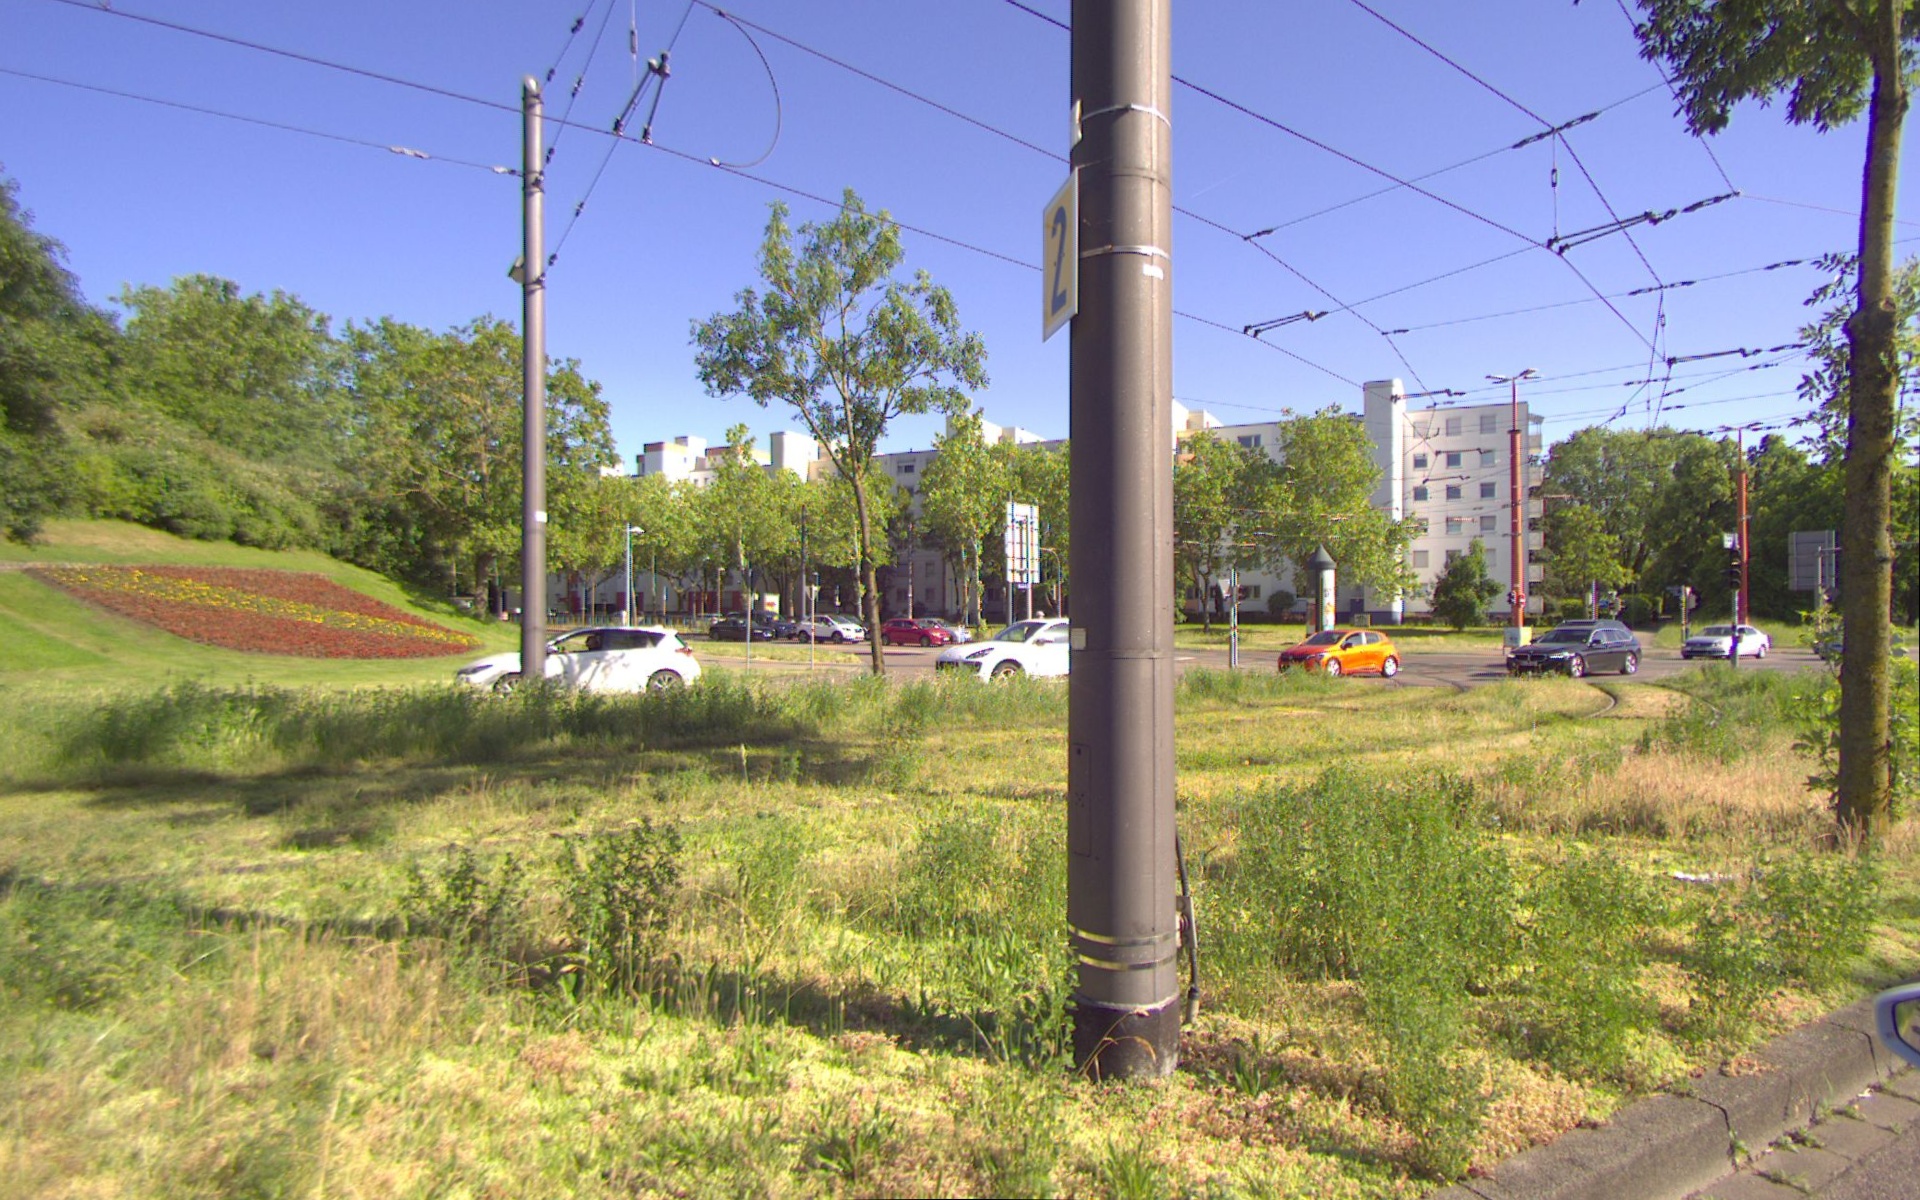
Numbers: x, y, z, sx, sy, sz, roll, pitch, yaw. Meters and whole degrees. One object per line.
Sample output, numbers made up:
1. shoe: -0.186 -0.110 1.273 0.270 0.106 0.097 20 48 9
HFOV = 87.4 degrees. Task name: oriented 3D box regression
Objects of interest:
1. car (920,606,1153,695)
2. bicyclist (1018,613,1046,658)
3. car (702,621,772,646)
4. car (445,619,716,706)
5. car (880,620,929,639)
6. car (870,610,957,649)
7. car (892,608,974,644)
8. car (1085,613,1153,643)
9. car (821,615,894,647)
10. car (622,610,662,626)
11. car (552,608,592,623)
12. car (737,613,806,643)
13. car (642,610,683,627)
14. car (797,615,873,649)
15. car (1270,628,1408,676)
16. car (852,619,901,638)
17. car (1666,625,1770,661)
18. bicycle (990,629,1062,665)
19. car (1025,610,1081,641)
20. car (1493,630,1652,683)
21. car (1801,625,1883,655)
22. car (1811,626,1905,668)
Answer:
1. car: 1.630 0.994 20.849 4.604 1.643 1.884 1 0 -32
2. bicyclist: 2.359 1.144 32.909 0.742 1.449 0.752 1 0 15
3. car: -13.318 1.988 59.976 3.928 1.340 1.733 1 0 30
4. car: -6.992 1.100 18.596 4.486 1.416 1.892 1 0 -28
5. car: -4.851 2.558 87.163 3.935 1.617 1.889 1 0 -17
6. car: -2.501 1.530 53.448 4.198 1.926 1.996 1 0 29
7. car: -1.533 1.438 56.516 4.198 1.926 1.996 1 0 29
8. car: 11.244 1.959 71.161 4.327 2.040 1.997 0 -1 28
9. car: -6.088 1.812 59.806 3.928 1.773 1.909 1 0 29
10. car: -33.409 1.887 105.760 3.935 1.617 1.889 1 0 -17
11. car: -43.485 1.728 112.620 3.935 1.617 1.889 1 0 -17
12. car: -11.770 1.719 62.833 3.928 1.773 1.909 1 0 29
13. car: -30.670 1.929 103.561 3.935 1.617 1.889 1 0 -17
14. car: -7.094 1.779 56.862 3.928 1.773 1.909 1 0 29
15. car: 11.325 1.513 29.951 4.129 1.315 1.649 1 0 -31
16. car: -7.356 2.517 88.549 3.935 1.617 1.889 1 0 -17
17. car: 32.397 1.825 42.896 4.640 1.451 1.984 1 -2 -31
18. bicycle: 2.163 1.527 32.952 2.313 1.095 0.474 1 0 15
19. car: 7.237 1.993 78.342 3.935 2.341 1.889 1 0 -17
20. car: 18.673 1.671 30.573 4.929 1.428 1.985 1 0 -29
21. car: 43.916 1.970 49.992 4.353 1.392 1.982 1 0 -33
22. car: 36.631 1.881 40.965 3.713 1.629 1.755 1 -2 -30
